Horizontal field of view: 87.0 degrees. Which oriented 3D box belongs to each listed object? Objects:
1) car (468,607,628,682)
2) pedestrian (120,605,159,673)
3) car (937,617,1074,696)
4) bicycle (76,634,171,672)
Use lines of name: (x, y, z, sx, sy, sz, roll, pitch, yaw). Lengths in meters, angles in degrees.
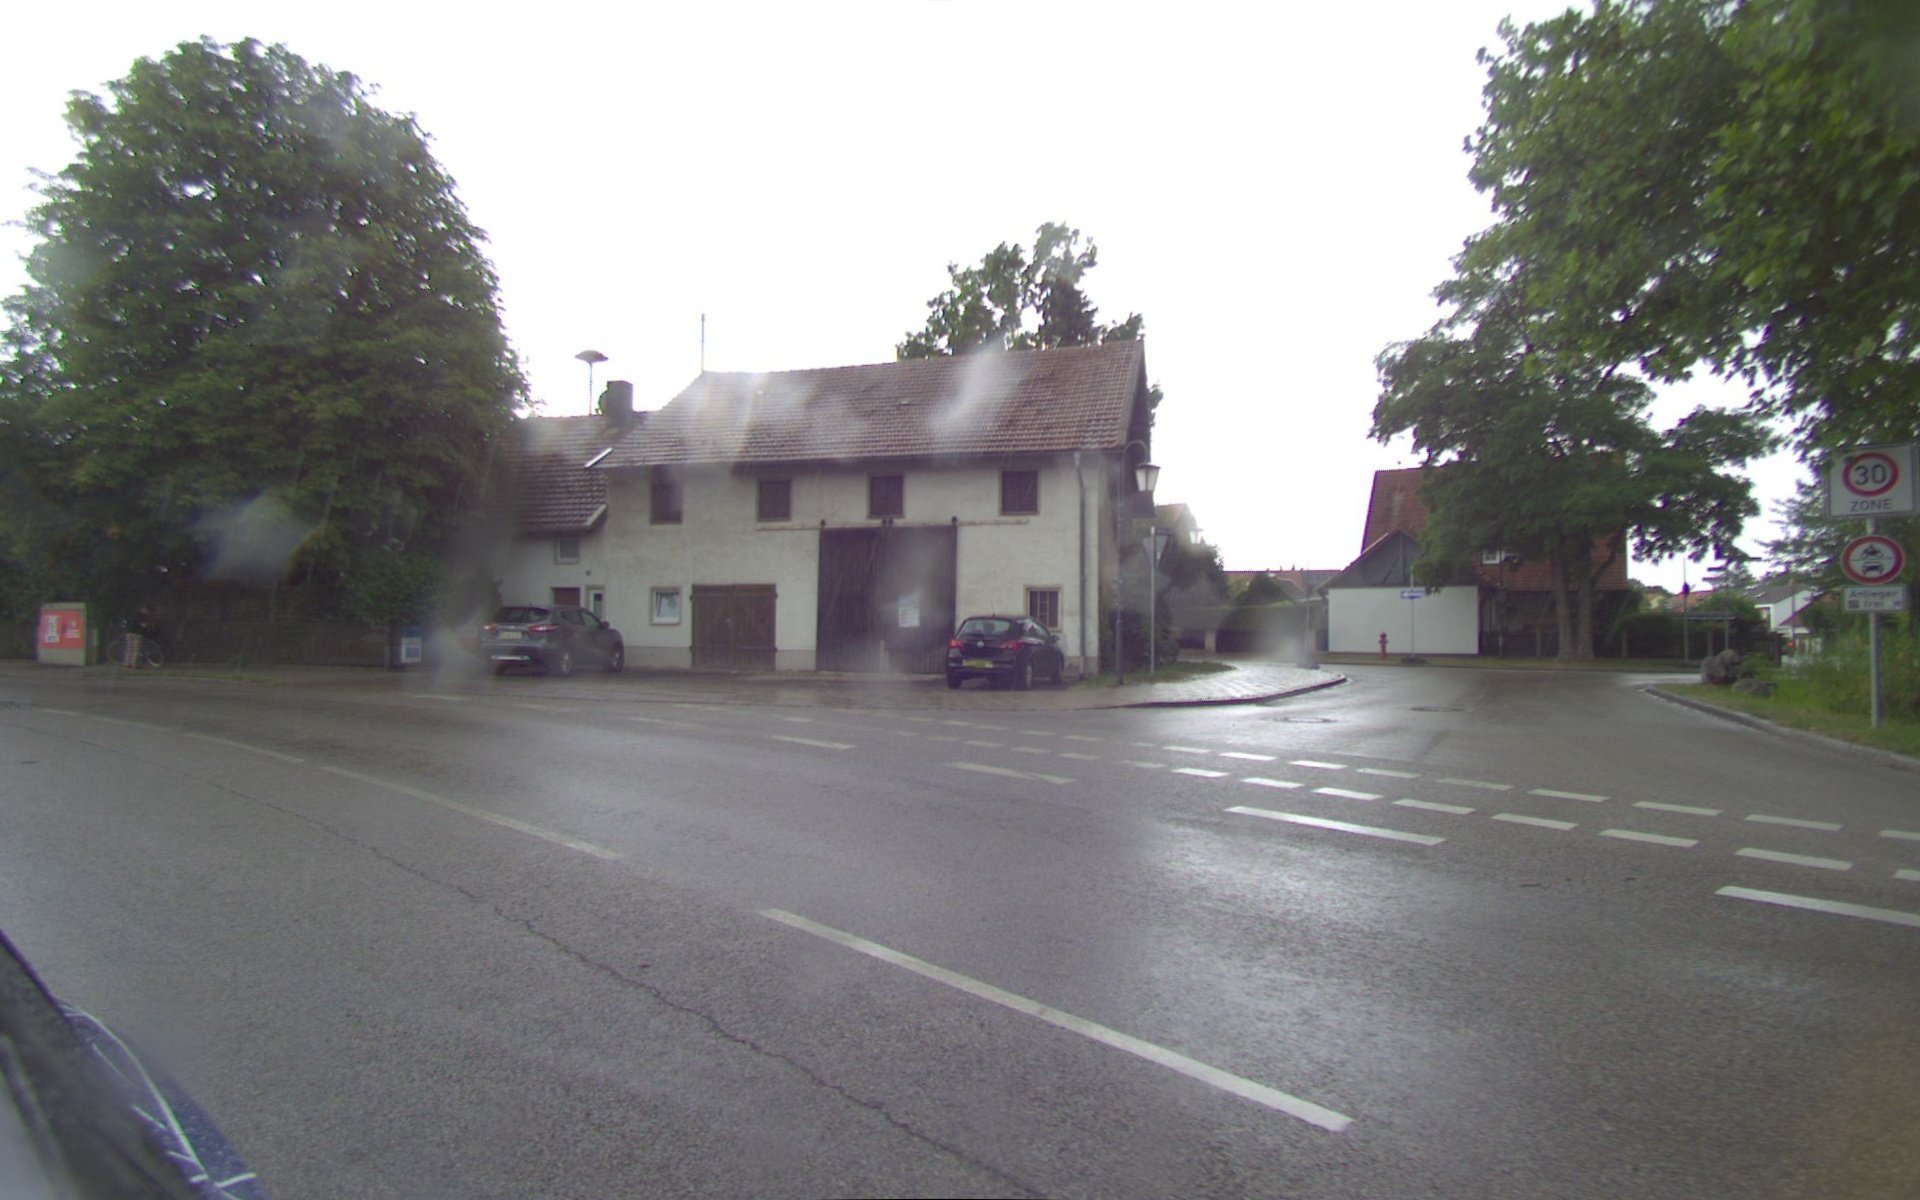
car: (-9.383, 1.045, 23.463, 1.794, 1.560, 4.277, 0, -3, 3)
pedestrian: (-20.073, 0.943, 24.763, 0.642, 1.640, 0.480, 1, -1, -28)
car: (1.057, 1.087, 20.830, 1.805, 1.447, 4.256, 0, -1, 17)
bicycle: (-20.962, 1.327, 25.385, 1.849, 0.909, 0.663, 0, -1, 1)
